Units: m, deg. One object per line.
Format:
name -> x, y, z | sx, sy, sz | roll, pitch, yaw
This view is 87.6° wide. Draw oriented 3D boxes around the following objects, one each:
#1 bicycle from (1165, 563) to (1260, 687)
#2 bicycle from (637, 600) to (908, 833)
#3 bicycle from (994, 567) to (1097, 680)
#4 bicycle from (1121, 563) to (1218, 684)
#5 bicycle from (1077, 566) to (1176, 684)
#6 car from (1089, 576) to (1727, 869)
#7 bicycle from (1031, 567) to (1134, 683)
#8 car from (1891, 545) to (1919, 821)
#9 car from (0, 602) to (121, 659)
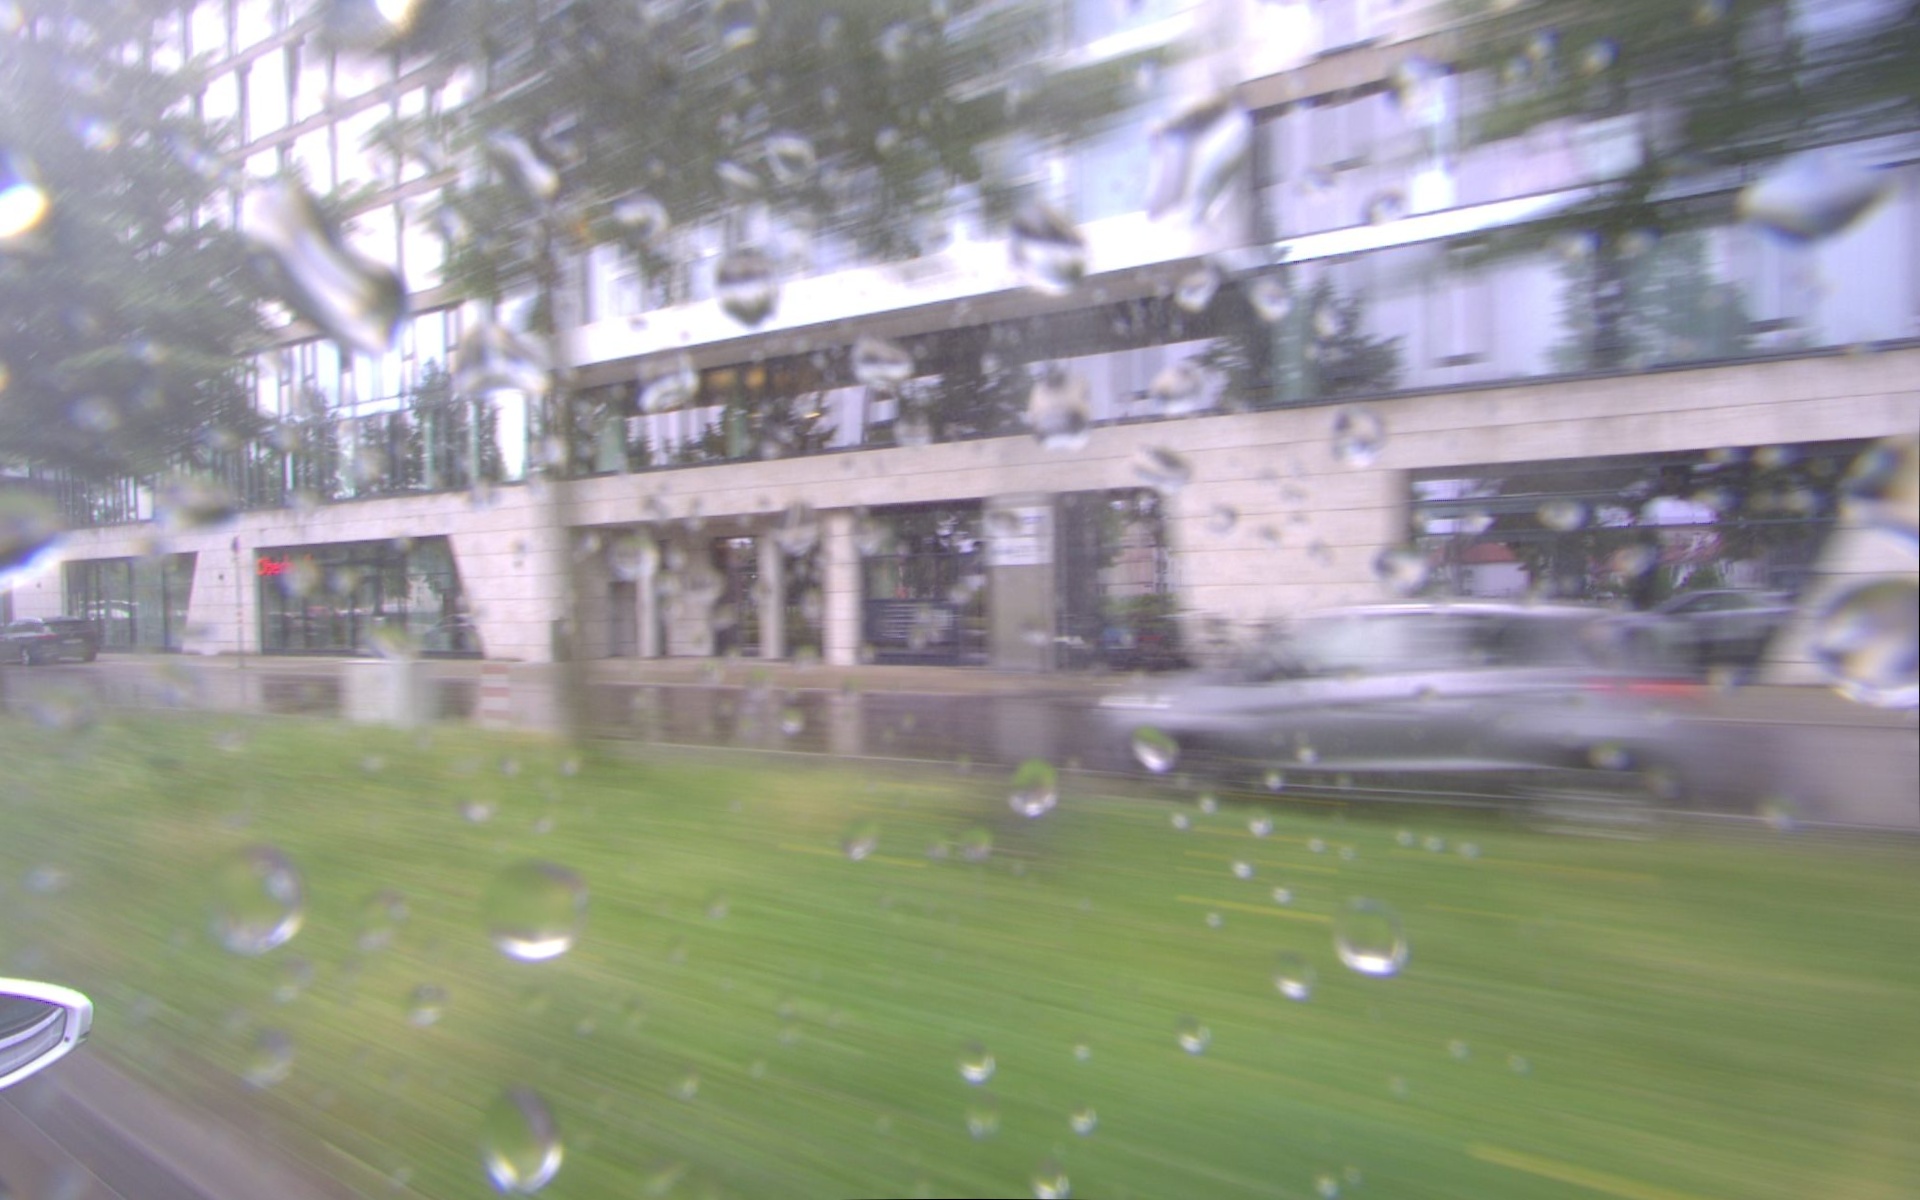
bicycle -> 4.202, 0.372, 16.478 | 0.697, 1.885, 2.673 | 0, 1, 33
bicycle -> -1.060, 0.611, 6.229 | 0.484, 1.212, 2.033 | -1, 0, 28
bicycle -> 1.588, 0.387, 18.039 | 0.697, 1.885, 2.673 | 0, 1, 33
bicycle -> 3.572, 0.365, 16.896 | 0.697, 1.885, 2.673 | 0, 1, 33
bicycle -> 2.930, 0.398, 17.321 | 0.697, 1.885, 2.673 | 0, 1, 33
car -> 2.899, 0.642, 6.977 | 3.598, 1.511, 1.624 | 2, 1, 29
bicycle -> 2.207, 0.401, 17.639 | 0.697, 1.885, 2.673 | 0, 1, 33
car -> 7.676, 0.574, 4.515 | 4.649, 1.692, 1.991 | 2, 1, 29
car -> -29.885, 0.940, 32.819 | 4.958, 1.523, 1.988 | 1, 5, 30
